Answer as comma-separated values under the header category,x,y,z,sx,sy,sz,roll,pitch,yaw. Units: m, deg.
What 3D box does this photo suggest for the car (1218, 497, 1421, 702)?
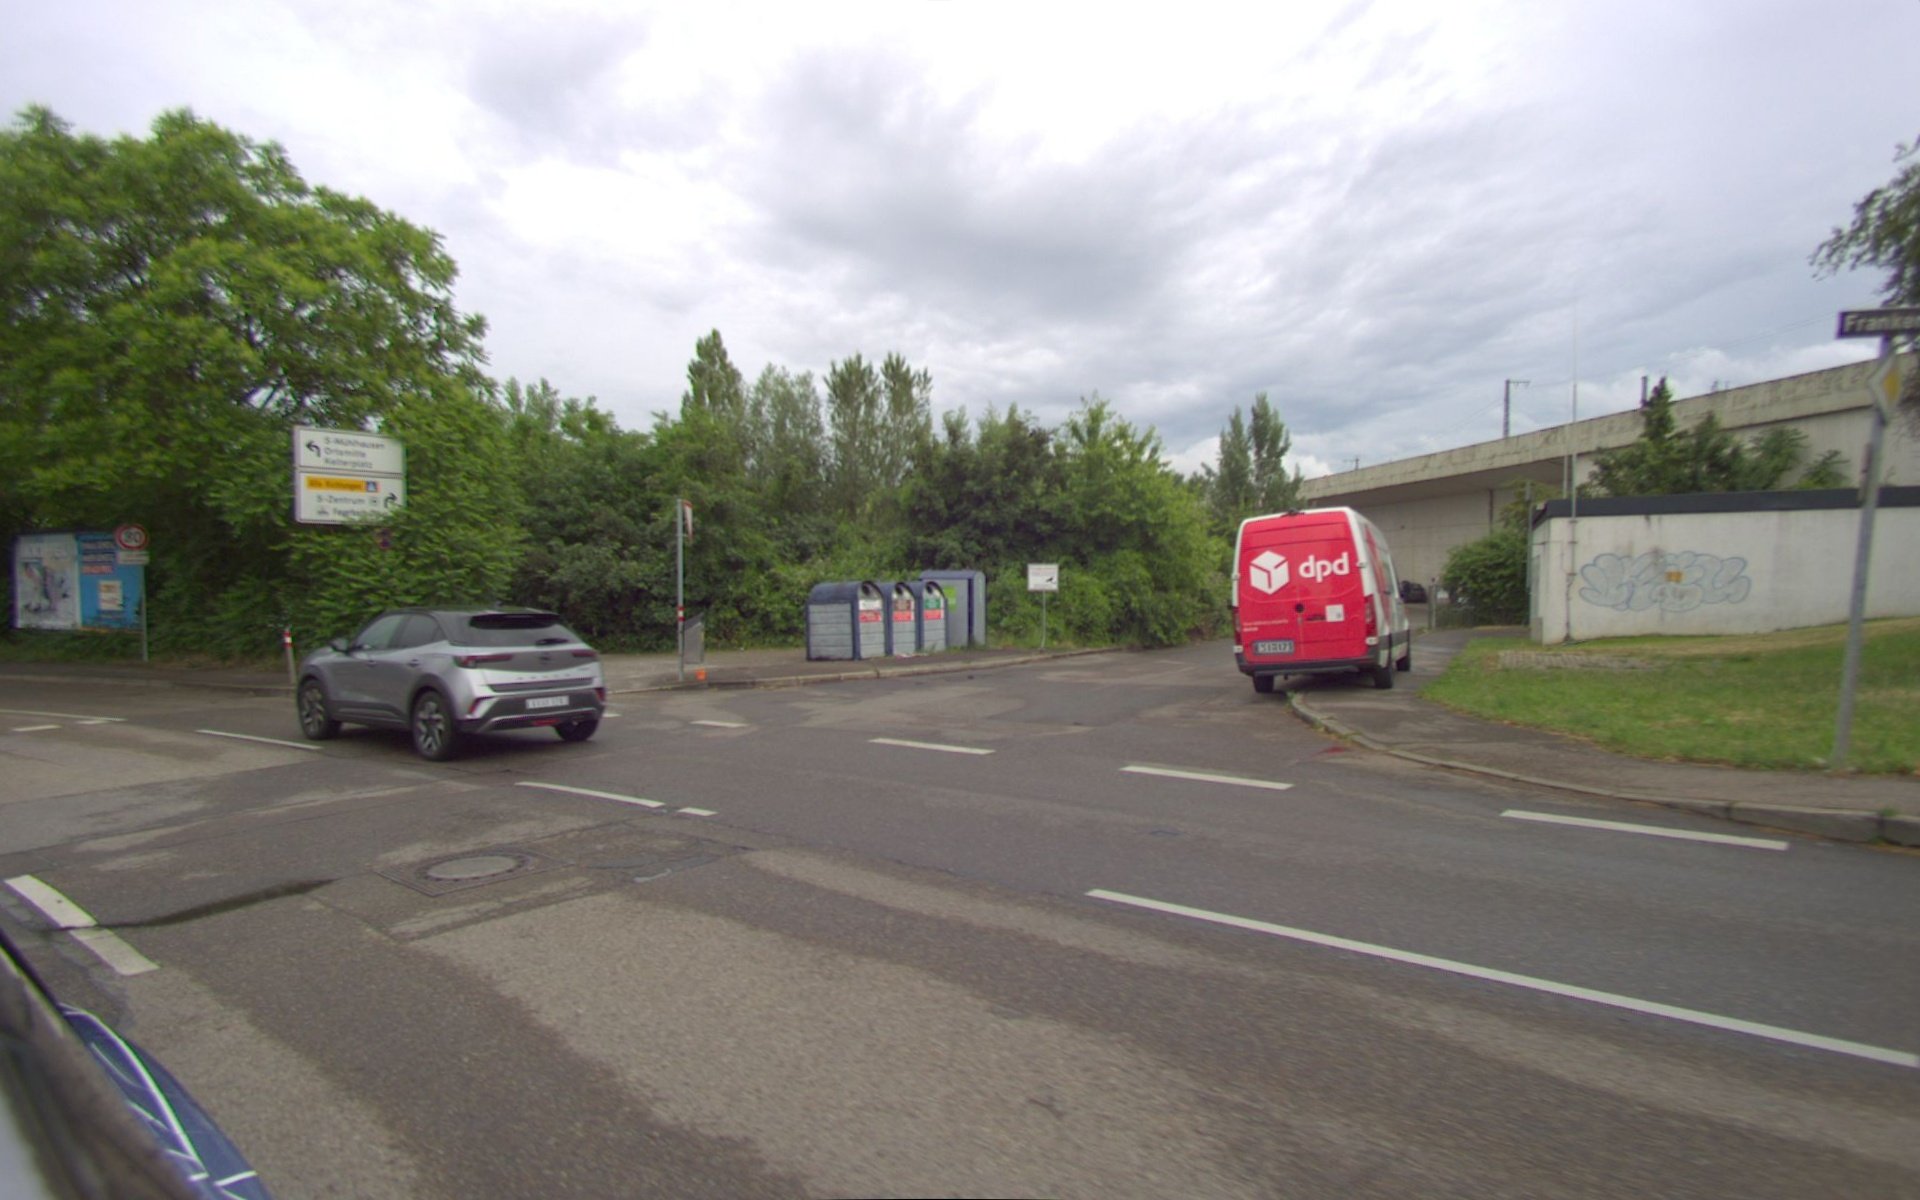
category,x,y,z,sx,sy,sz,roll,pitch,yaw
car,6.209,-0.070,16.779,2.252,2.675,6.761,-1,1,27

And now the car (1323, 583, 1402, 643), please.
category,x,y,z,sx,sy,sz,roll,pitch,yaw
car,12.228,0.340,30.608,1.989,1.641,4.217,-1,1,25

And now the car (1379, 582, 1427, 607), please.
category,x,y,z,sx,sy,sz,roll,pitch,yaw
car,34.743,-0.449,79.484,1.972,1.808,4.000,-1,1,0

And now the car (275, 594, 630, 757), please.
category,x,y,z,sx,sy,sz,roll,pitch,yaw
car,-5.663,0.715,11.145,3.992,1.472,1.878,-1,0,36
